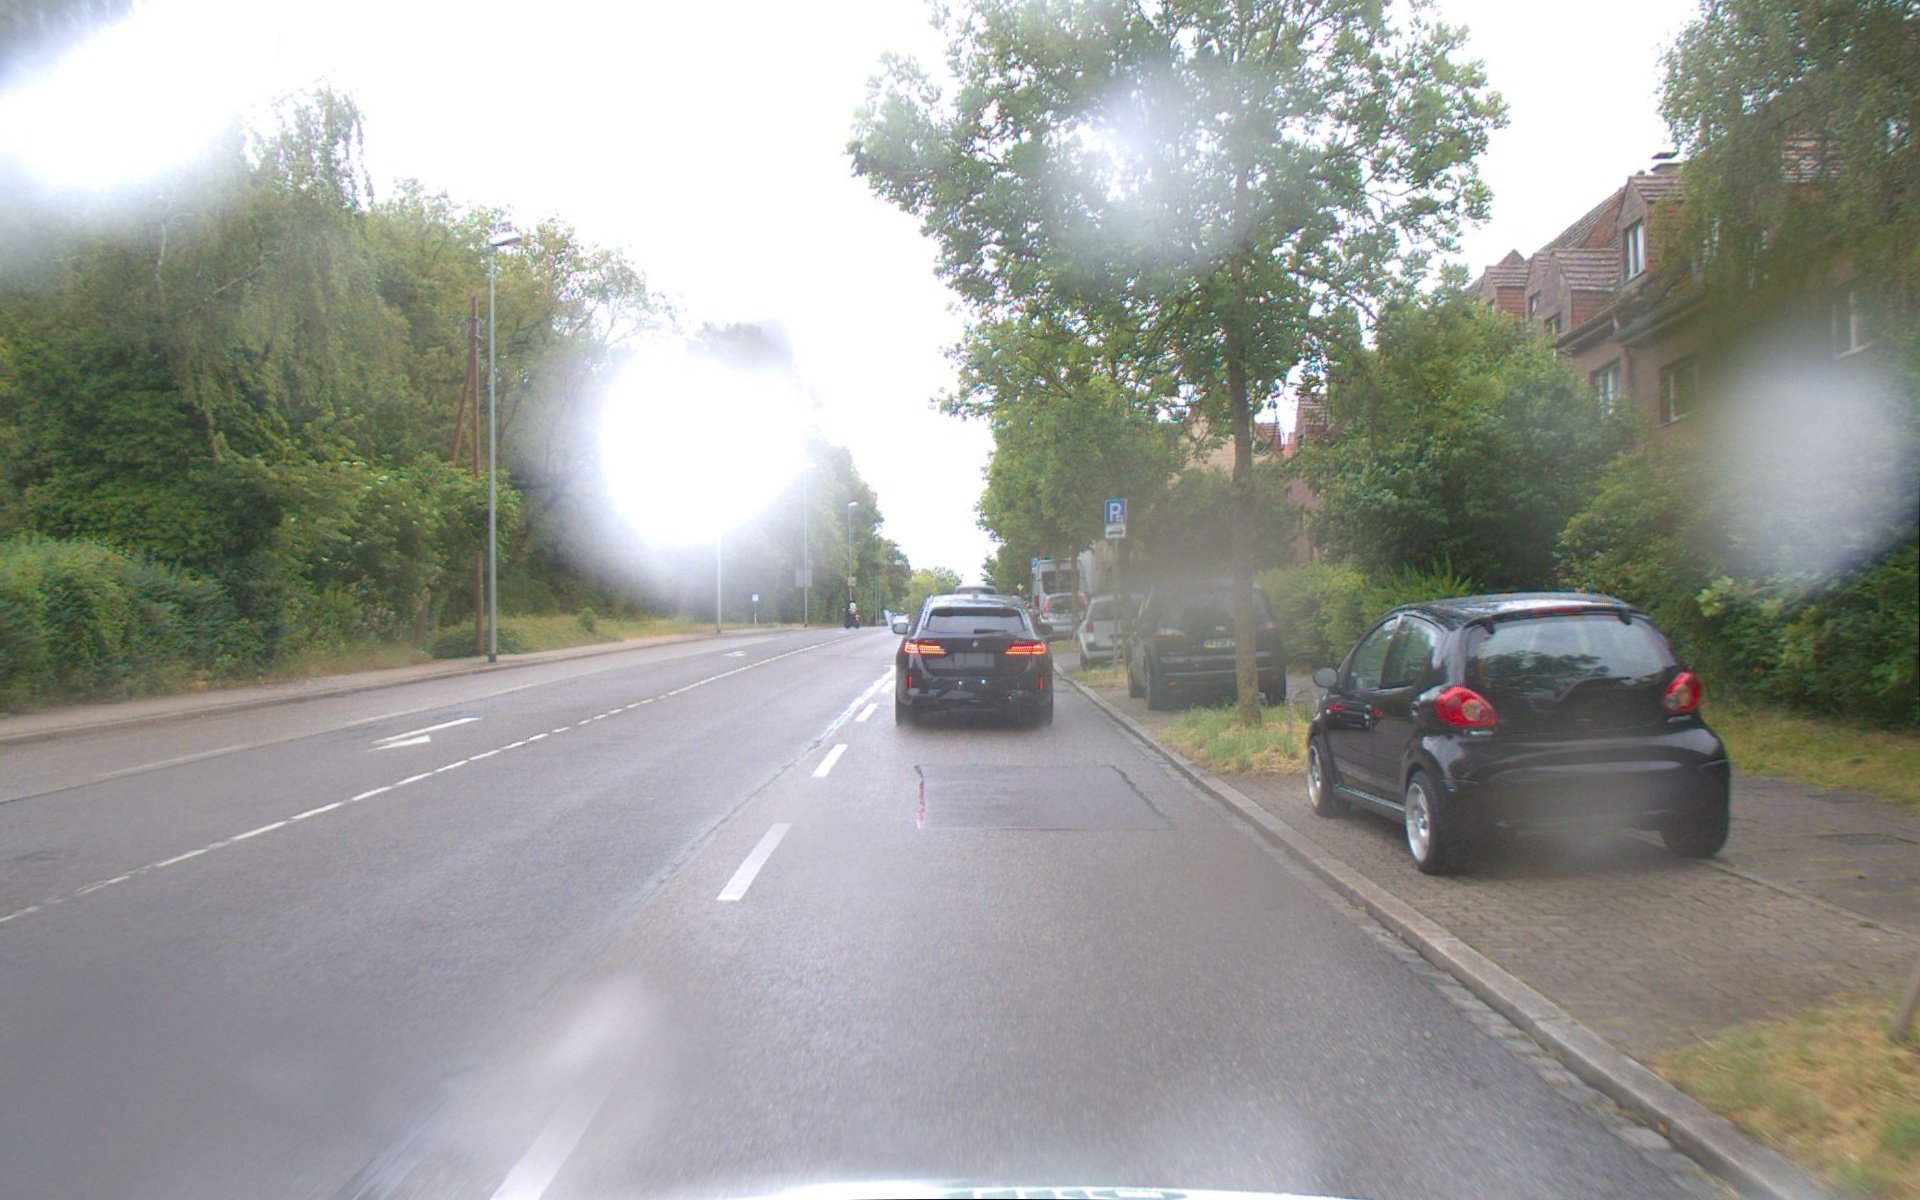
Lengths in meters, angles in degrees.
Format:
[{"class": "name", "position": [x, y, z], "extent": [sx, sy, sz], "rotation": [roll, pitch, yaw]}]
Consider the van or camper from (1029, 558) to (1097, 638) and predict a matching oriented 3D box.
[{"class": "van or camper", "position": [3.700, -0.070, 60.803], "extent": [2.152, 2.697, 7.303], "rotation": [-3, 0, 2]}]

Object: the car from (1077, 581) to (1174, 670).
[{"class": "car", "position": [3.325, 0.488, 33.898], "extent": [1.786, 1.630, 4.476], "rotation": [-3, 0, 4]}]

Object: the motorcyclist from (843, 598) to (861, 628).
[{"class": "motorcyclist", "position": [-6.133, 0.731, 93.835], "extent": [0.640, 1.710, 0.808], "rotation": [0, -1, 42]}]

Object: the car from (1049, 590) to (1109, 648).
[{"class": "car", "position": [3.495, 0.556, 48.909], "extent": [1.634, 1.555, 3.833], "rotation": [-4, -1, 3]}]

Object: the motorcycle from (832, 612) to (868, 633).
[{"class": "motorcycle", "position": [-6.244, 1.270, 93.927], "extent": [2.150, 1.137, 0.819], "rotation": [0, 0, 42]}]

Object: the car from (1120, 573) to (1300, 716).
[{"class": "car", "position": [3.351, 0.561, 22.988], "extent": [1.787, 1.707, 4.584], "rotation": [-3, 0, 0]}]

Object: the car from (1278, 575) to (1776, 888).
[{"class": "car", "position": [3.279, 0.664, 10.375], "extent": [1.687, 1.538, 3.784], "rotation": [-2, 0, -2]}]

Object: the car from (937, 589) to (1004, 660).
[{"class": "car", "position": [0.352, 0.748, 50.434], "extent": [1.952, 2.049, 4.000], "rotation": [0, -1, 1]}]

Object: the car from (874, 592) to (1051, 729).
[{"class": "car", "position": [0.016, 0.710, 20.666], "extent": [1.953, 1.478, 3.999], "rotation": [2, -1, 0]}]
